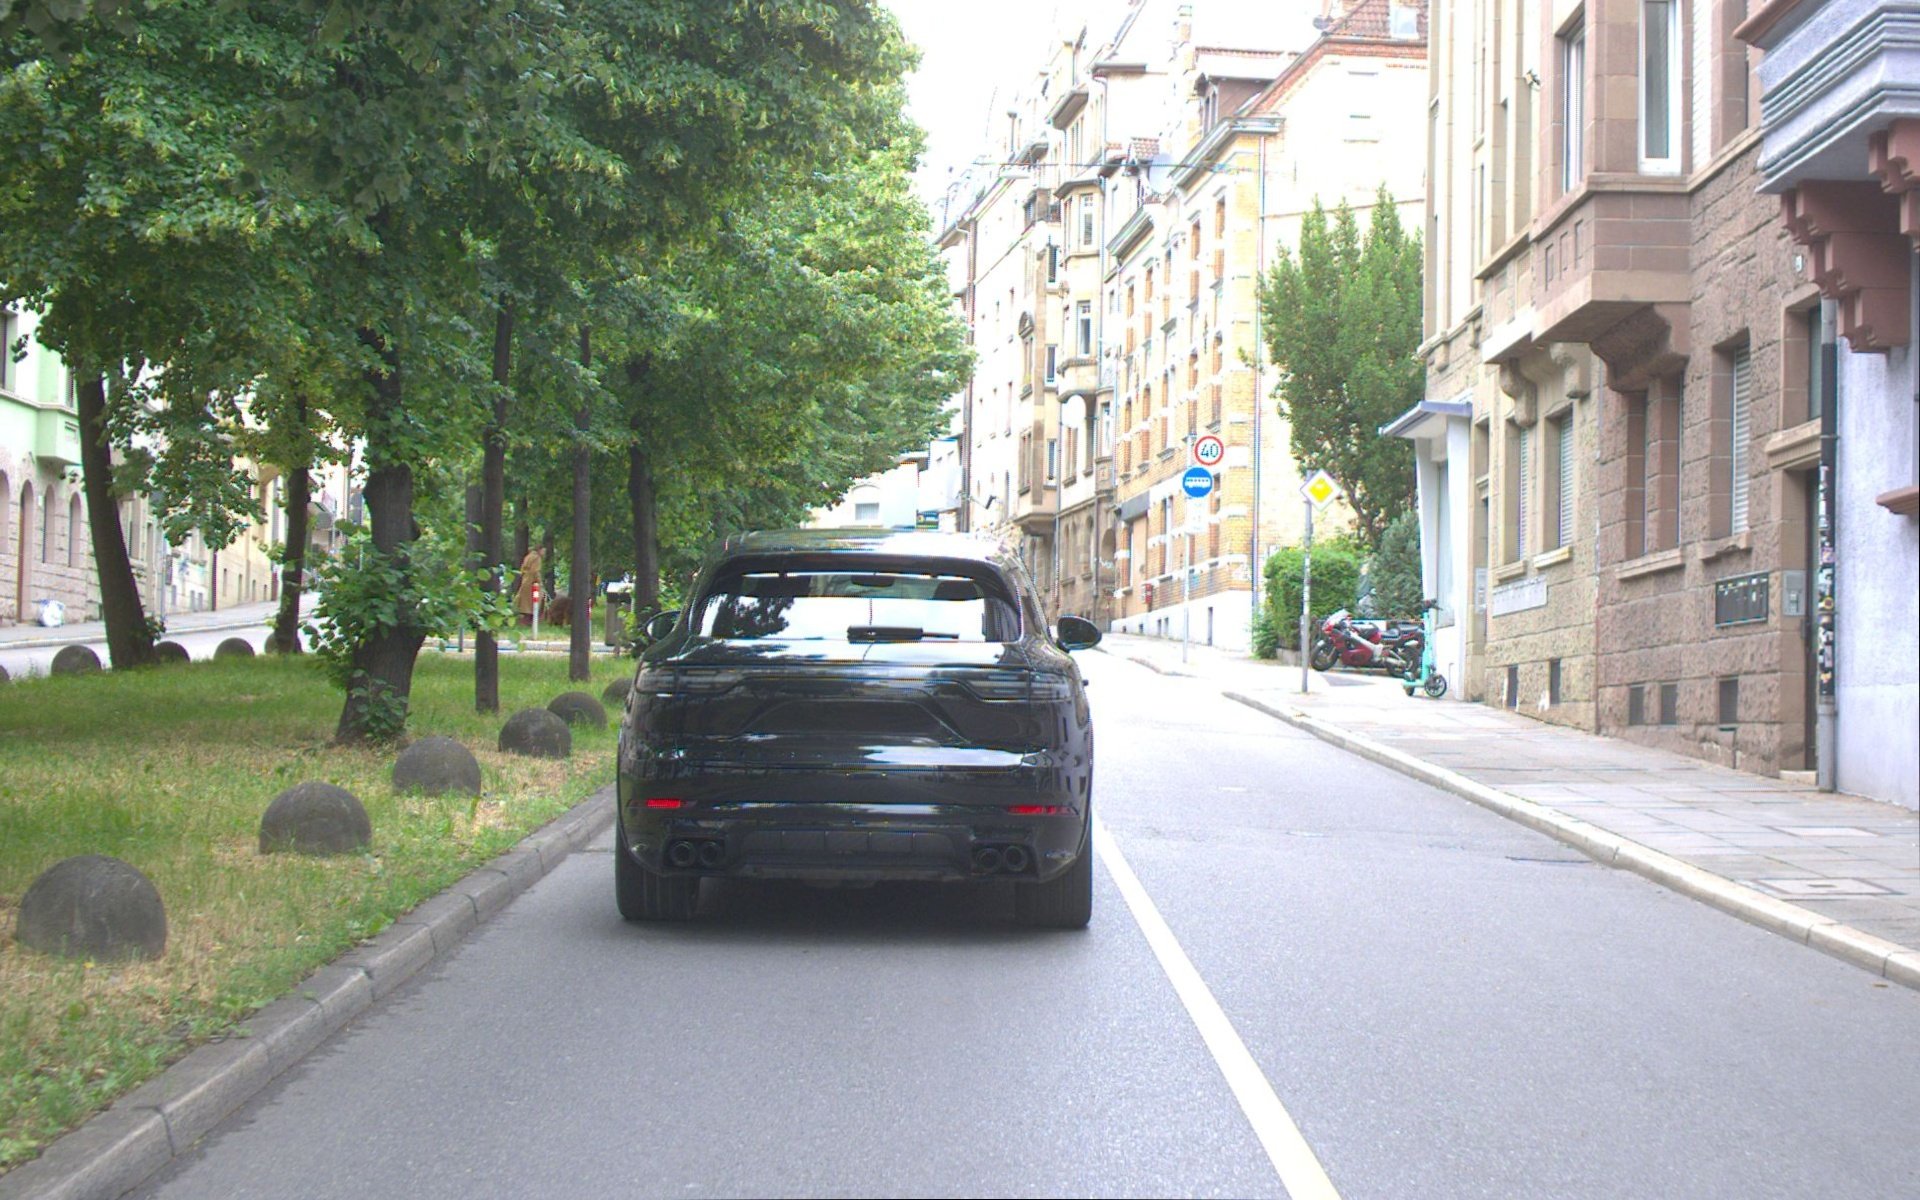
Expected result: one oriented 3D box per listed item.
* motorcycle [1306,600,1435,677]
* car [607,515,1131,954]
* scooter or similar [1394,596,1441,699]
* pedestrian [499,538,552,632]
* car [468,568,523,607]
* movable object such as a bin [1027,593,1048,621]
[{"bbox_3d":[7.307,0.683,61.258,2.055,1.263,1.010,3,0,-4],"label":"motorcycle"},{"bbox_3d":[-0.436,0.499,15.325,1.993,1.660,4.000,1,1,-2],"label":"car"},{"bbox_3d":[5.706,0.584,42.912,0.410,1.206,1.145,-1,3,-1],"label":"scooter or similar"},{"bbox_3d":[-8.248,-0.276,65.301,0.833,1.706,1.123,-2,-2,-1],"label":"pedestrian"},{"bbox_3d":[-17.435,-0.484,129.184,1.708,1.377,4.669,0,1,-3],"label":"car"},{"bbox_3d":[2.530,0.220,112.196,0.594,0.901,0.563,2,-1,-5],"label":"movable object such as a bin"}]
